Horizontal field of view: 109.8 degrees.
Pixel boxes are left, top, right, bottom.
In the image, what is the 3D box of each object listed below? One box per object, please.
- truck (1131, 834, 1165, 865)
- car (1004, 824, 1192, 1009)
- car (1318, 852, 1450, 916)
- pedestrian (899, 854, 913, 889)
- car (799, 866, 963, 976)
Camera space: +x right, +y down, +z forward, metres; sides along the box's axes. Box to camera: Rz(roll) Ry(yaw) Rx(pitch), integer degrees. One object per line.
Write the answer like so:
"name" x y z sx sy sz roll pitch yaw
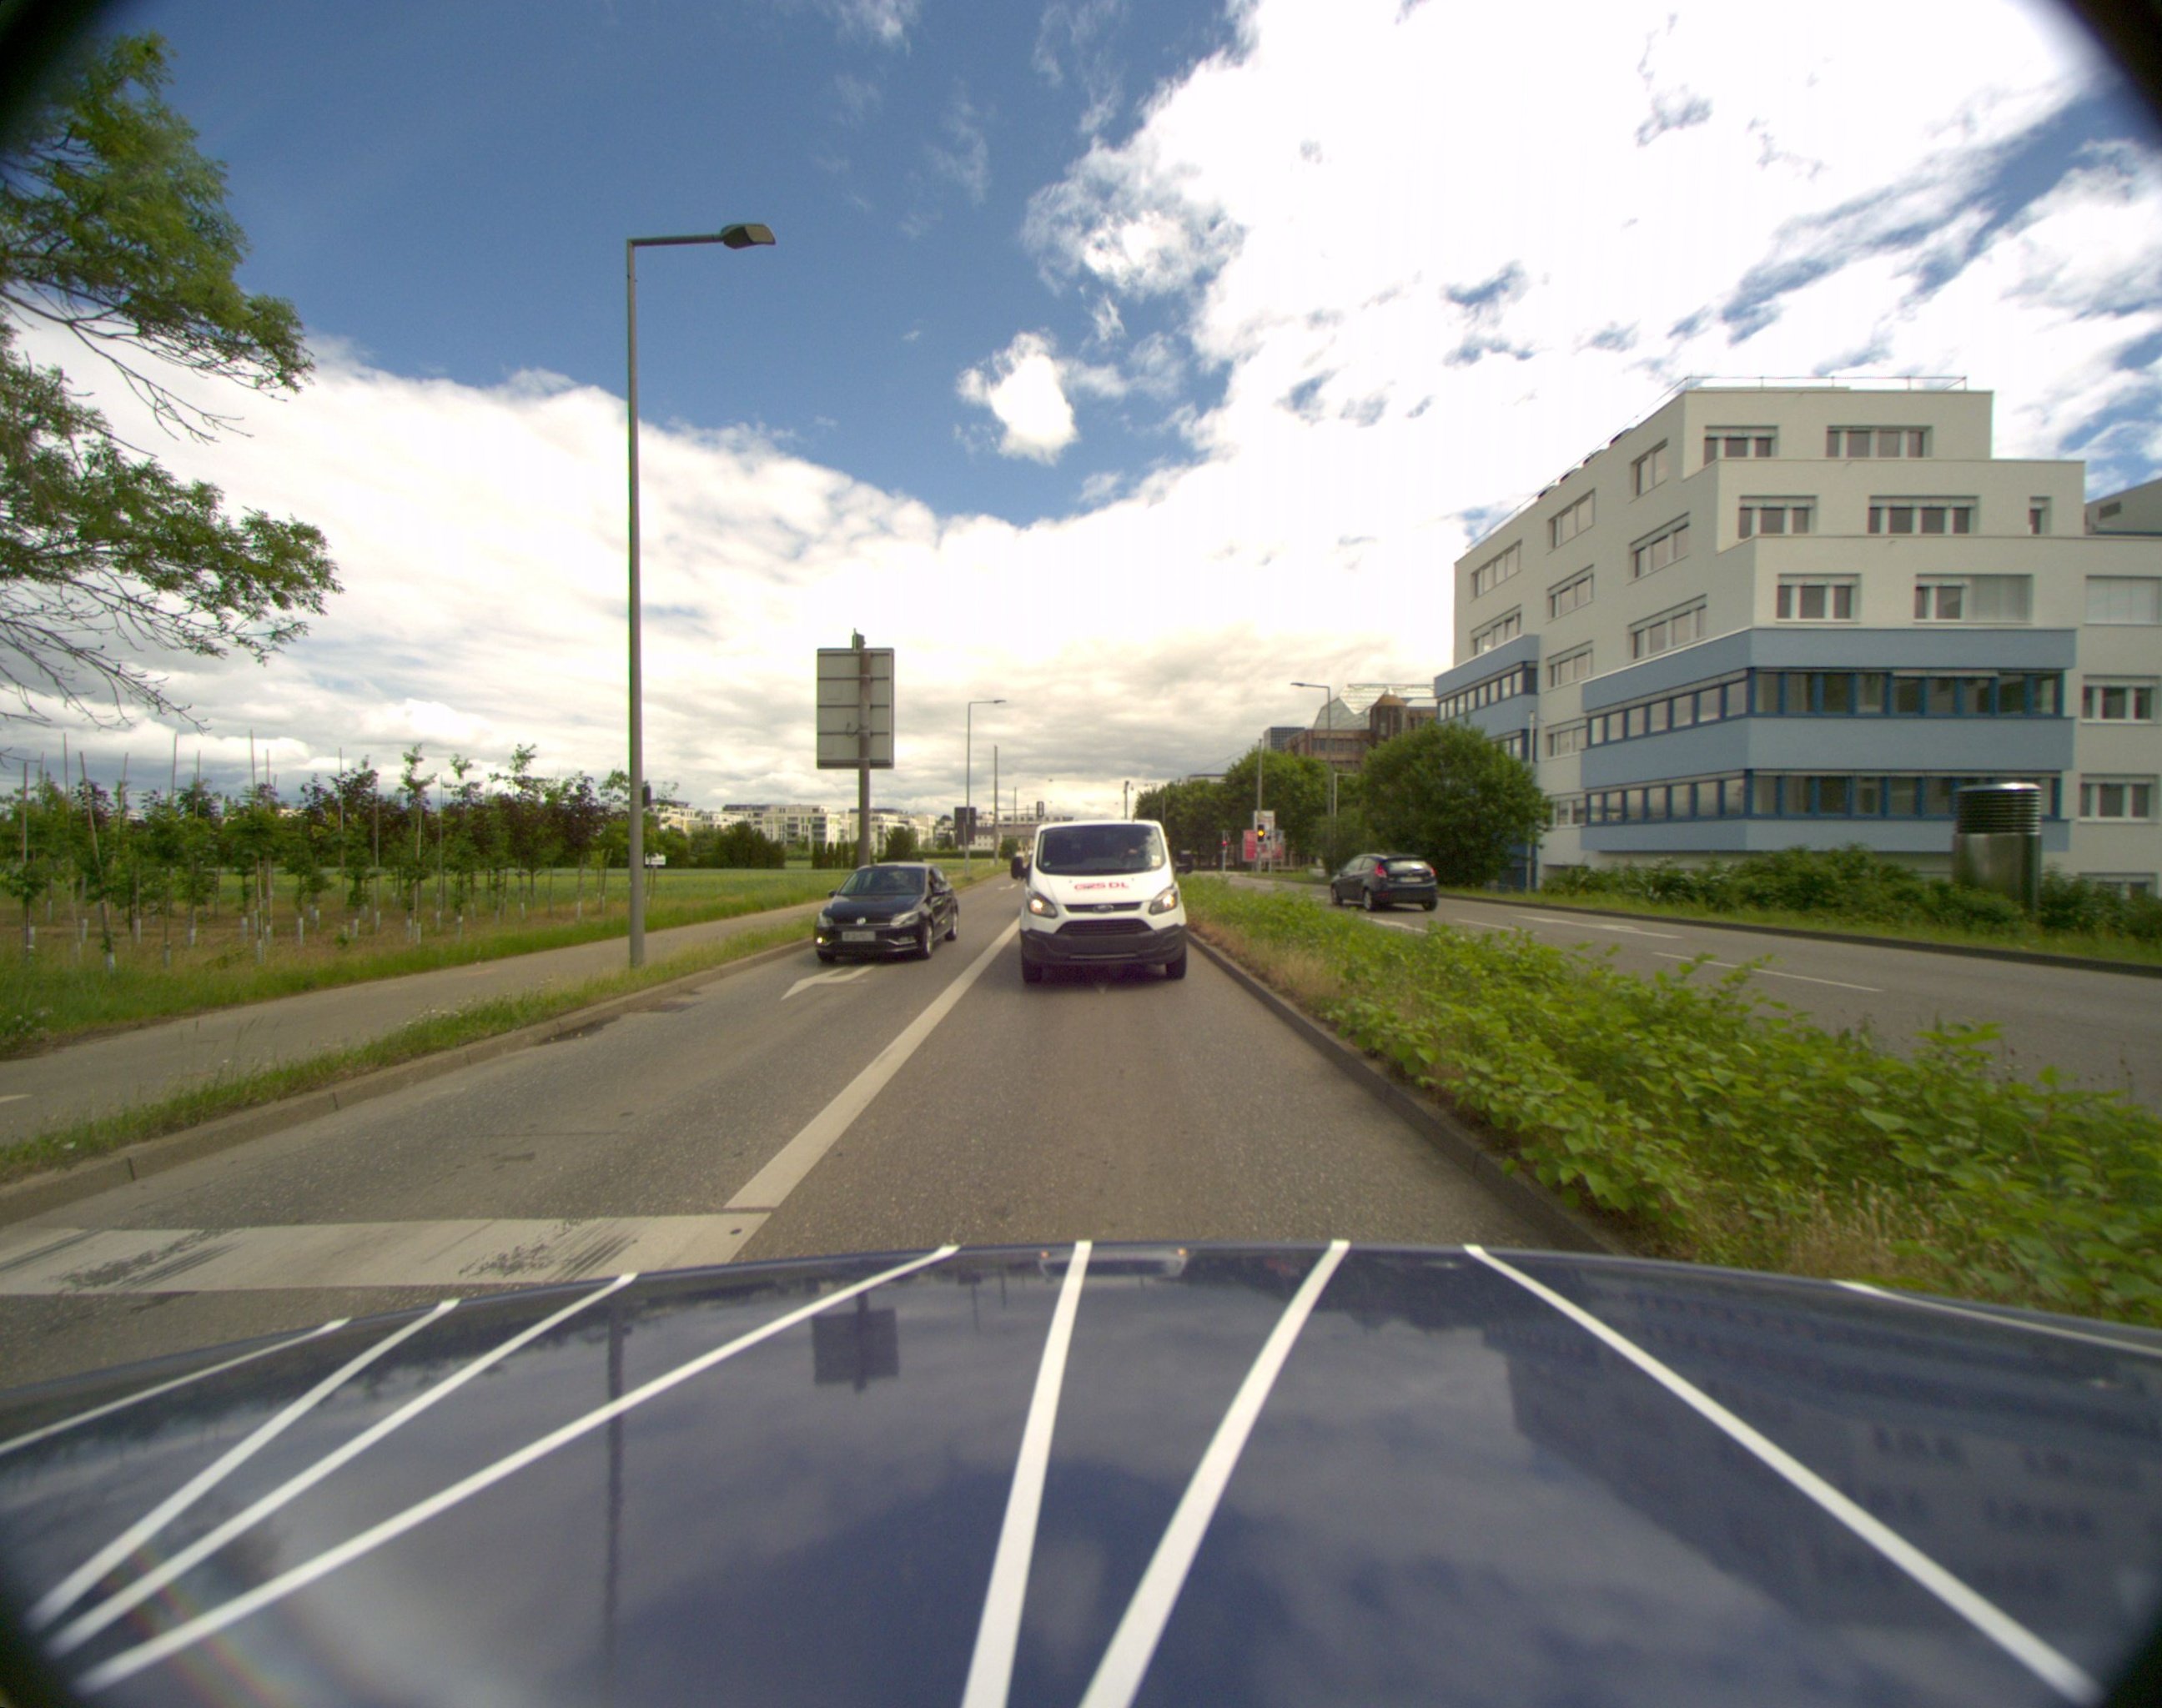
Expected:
"truck" 7.894 -0.603 90.933 3.176 3.498 9.524 0 1 0
"car" 0.206 0.662 10.668 1.968 1.938 5.054 -1 0 0
"car" 7.844 0.712 20.089 1.759 1.438 3.890 -2 1 -3
"pedestrian" -8.699 0.871 37.760 0.492 1.693 0.625 -2 1 -1
"car" -3.079 0.969 12.464 1.682 1.410 3.739 -1 1 0
